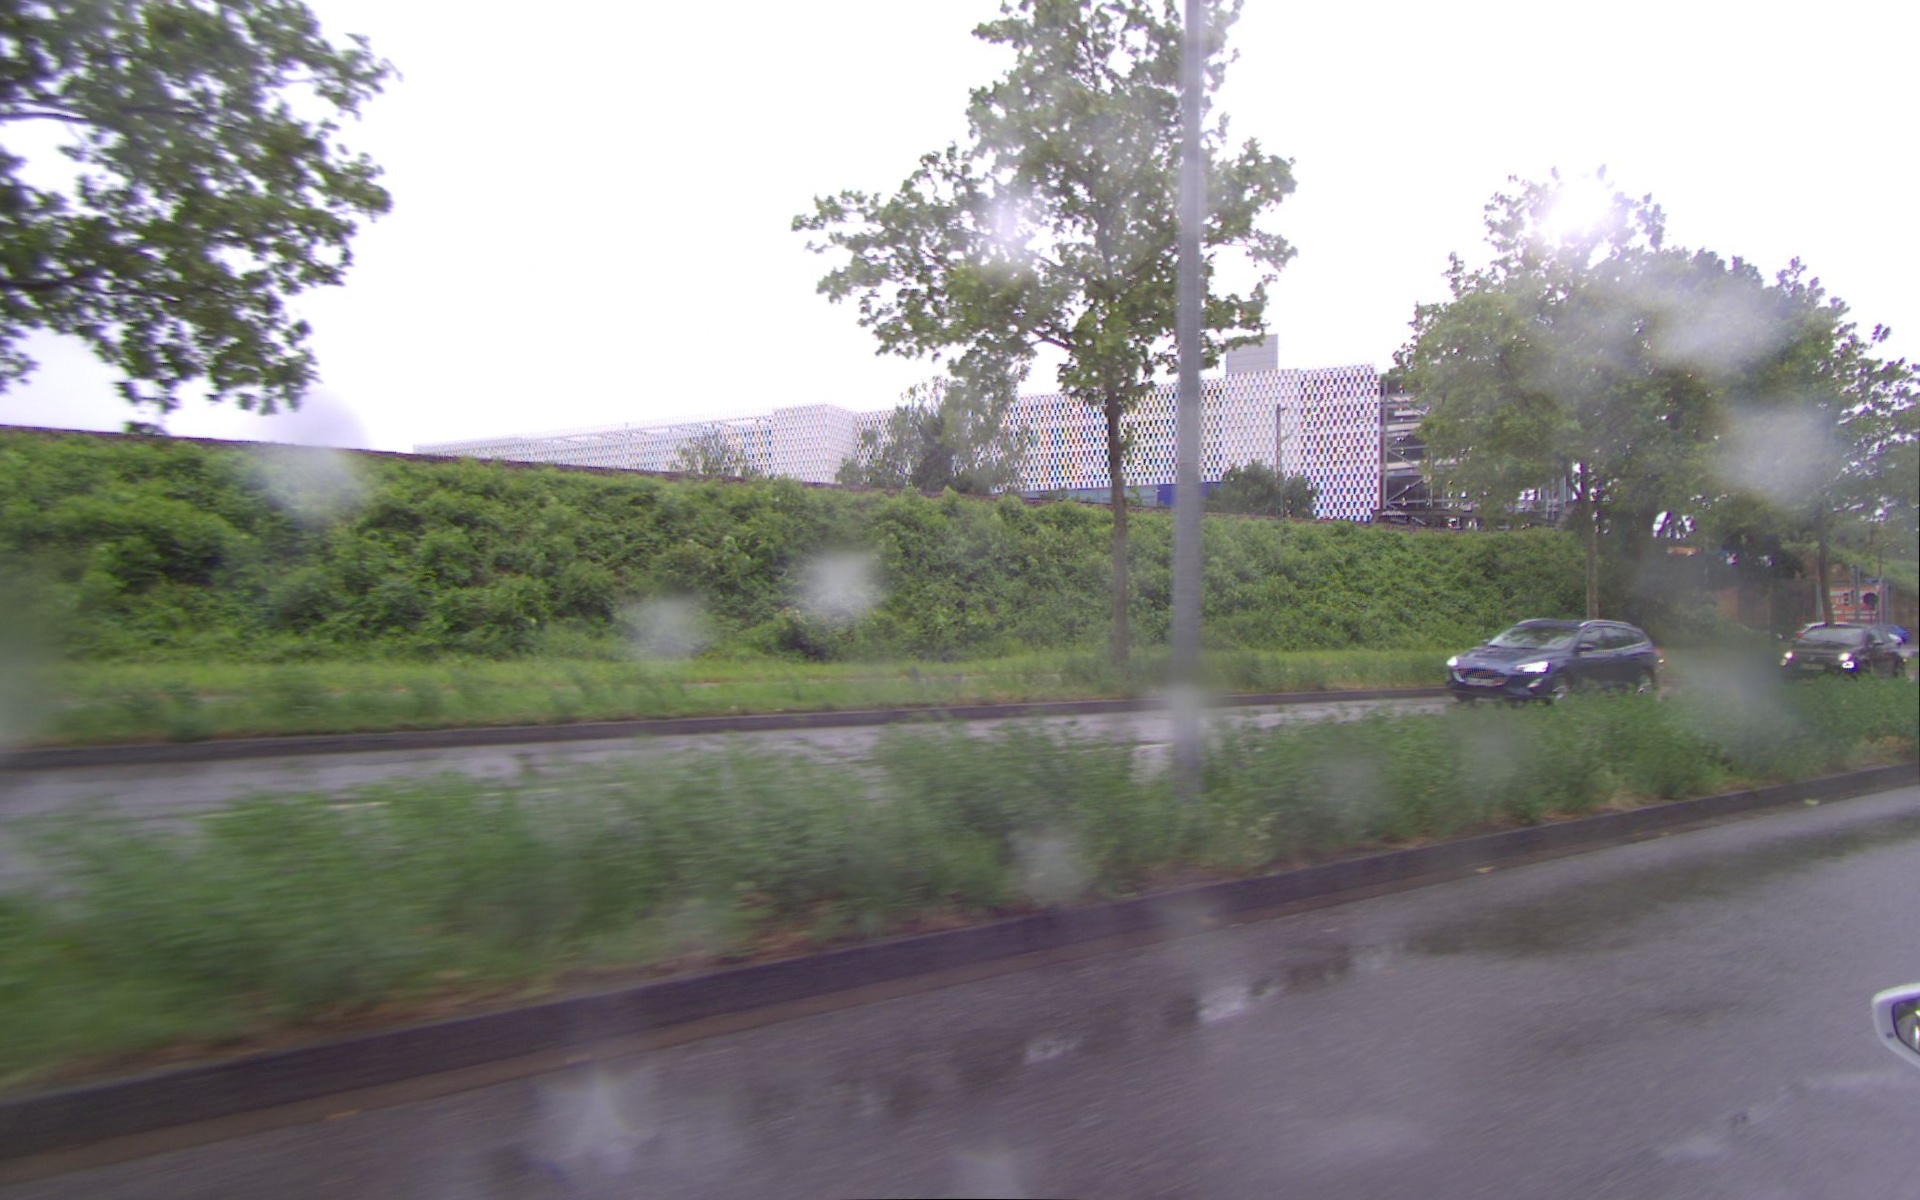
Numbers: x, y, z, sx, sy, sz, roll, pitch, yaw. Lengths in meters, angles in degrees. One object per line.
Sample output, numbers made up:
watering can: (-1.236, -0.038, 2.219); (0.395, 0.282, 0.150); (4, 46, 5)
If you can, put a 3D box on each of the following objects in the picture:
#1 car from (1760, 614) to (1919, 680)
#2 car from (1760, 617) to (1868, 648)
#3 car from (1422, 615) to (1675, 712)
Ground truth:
car: (21.688, 1.113, 24.731); (3.664, 1.464, 1.921); (1, 0, -30)
car: (48.168, 1.801, 56.724); (1.847, 1.610, 4.467); (1, -1, -39)
car: (10.391, 1.032, 17.674); (4.444, 1.464, 1.921); (1, 0, -31)
